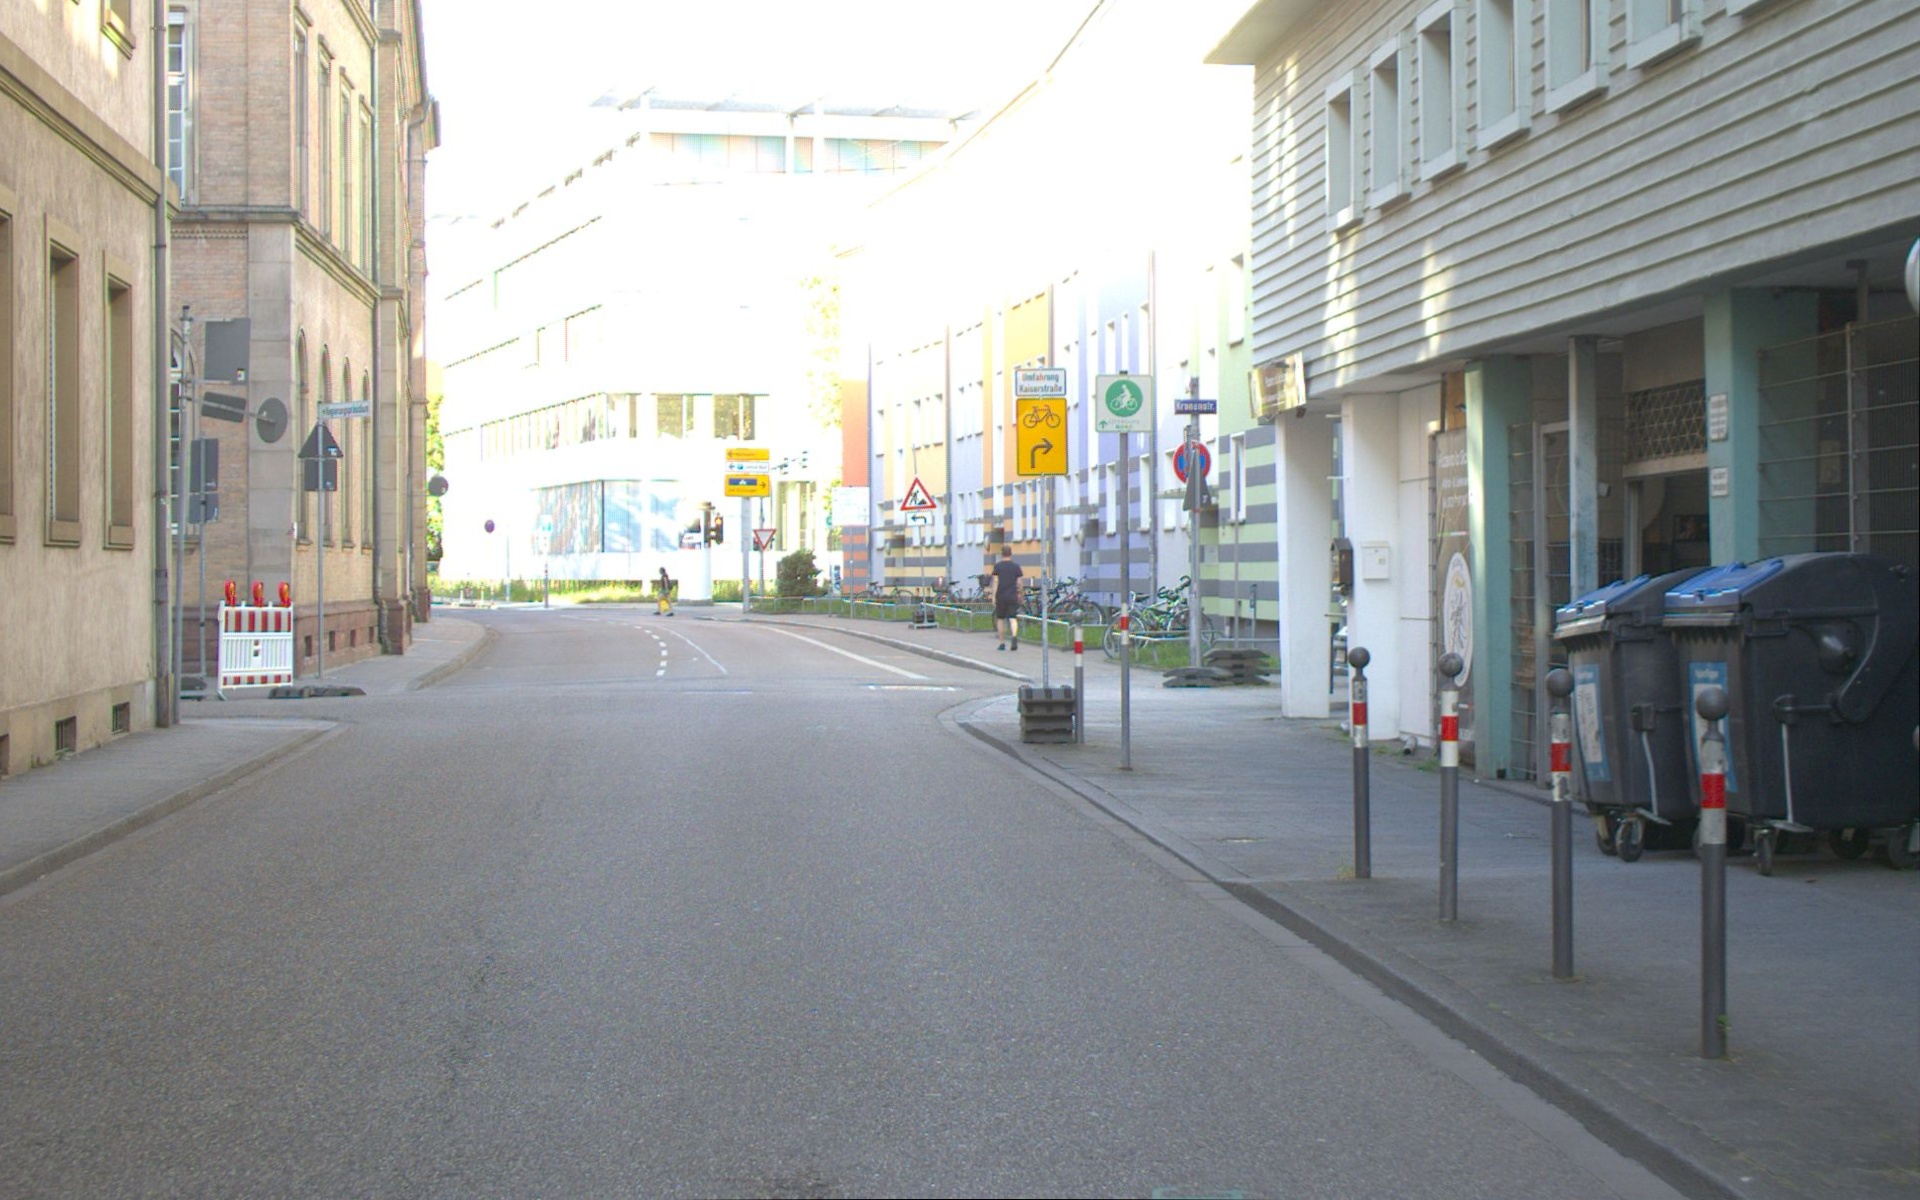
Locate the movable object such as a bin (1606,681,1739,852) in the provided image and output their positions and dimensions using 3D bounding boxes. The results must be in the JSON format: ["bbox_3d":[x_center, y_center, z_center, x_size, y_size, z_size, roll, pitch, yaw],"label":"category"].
[{"bbox_3d":[3.855,0.896,18.626,0.556,0.896,0.523,-2,-2,-4],"label":"movable object such as a bin"}]

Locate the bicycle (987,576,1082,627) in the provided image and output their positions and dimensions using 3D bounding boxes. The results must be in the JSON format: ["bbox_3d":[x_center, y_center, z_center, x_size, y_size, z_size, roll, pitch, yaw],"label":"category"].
[{"bbox_3d":[1.438,0.021,66.522,1.748,0.943,0.552,-1,0,-6],"label":"bicycle"}]

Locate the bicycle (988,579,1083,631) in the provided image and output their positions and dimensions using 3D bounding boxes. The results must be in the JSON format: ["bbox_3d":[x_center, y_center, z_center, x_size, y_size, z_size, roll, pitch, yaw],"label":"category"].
[{"bbox_3d":[1.444,0.097,65.855,1.748,0.943,0.552,-1,0,-6],"label":"bicycle"}]

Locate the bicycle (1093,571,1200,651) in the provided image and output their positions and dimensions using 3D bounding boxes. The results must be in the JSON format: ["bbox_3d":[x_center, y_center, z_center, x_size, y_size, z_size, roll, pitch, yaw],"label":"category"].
[{"bbox_3d":[2.909,0.164,53.615,1.602,1.137,0.237,-4,1,-14],"label":"bicycle"}]

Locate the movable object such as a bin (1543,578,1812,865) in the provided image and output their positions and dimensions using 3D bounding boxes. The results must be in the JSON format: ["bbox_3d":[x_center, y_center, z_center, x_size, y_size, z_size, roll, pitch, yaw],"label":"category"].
[{"bbox_3d":[3.649,0.615,17.599,0.981,1.380,1.321,-2,-2,-4],"label":"movable object such as a bin"}]

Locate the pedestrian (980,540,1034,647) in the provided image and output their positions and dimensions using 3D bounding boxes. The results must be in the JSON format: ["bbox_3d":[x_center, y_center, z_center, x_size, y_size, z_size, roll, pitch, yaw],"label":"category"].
[{"bbox_3d":[0.785,-0.119,58.077,0.696,1.754,1.189,-3,1,-6],"label":"pedestrian"}]

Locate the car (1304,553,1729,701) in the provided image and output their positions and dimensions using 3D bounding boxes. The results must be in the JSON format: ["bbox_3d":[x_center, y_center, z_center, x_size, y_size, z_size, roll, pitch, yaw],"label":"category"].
[{"bbox_3d":[5.847,0.265,36.402,4.077,1.477,1.866,-1,0,-6],"label":"car"}]

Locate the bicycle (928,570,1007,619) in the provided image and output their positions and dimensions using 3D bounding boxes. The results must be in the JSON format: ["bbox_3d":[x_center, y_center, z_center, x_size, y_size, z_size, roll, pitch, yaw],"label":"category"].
[{"bbox_3d":[0.181,-0.139,82.431,1.810,1.133,0.552,-1,0,-7],"label":"bicycle"}]

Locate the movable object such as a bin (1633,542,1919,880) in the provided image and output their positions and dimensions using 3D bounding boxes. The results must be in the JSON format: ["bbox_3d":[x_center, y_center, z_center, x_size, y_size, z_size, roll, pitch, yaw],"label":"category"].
[{"bbox_3d":[3.859,0.513,16.084,0.981,1.475,1.551,-2,-2,-4],"label":"movable object such as a bin"}]

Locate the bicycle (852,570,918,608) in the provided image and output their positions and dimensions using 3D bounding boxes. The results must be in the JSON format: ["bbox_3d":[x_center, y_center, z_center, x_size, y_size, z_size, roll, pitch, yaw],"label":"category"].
[{"bbox_3d":[-2.098,-0.307,96.514,1.753,1.000,0.613,-2,0,-11],"label":"bicycle"}]

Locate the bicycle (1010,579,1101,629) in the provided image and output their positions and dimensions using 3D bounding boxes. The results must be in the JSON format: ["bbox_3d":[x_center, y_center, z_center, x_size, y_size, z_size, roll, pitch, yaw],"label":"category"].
[{"bbox_3d":[1.887,0.069,68.110,1.748,0.943,0.335,-1,0,-6],"label":"bicycle"}]

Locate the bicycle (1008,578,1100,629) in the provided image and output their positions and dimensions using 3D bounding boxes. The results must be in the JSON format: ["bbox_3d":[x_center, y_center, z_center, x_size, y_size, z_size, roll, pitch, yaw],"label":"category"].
[{"bbox_3d":[1.847,0.069,67.580,1.748,0.943,0.326,-1,0,-5],"label":"bicycle"}]

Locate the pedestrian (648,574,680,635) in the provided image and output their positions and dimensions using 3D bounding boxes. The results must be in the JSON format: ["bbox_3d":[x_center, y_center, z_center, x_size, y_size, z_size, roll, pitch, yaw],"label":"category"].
[{"bbox_3d":[-9.831,0.152,114.174,0.895,2.007,0.753,-1,0,-14],"label":"pedestrian"}]

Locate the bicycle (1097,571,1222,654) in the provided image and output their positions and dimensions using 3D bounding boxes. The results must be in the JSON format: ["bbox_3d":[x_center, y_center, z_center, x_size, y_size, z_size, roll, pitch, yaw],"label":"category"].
[{"bbox_3d":[3.012,0.186,51.951,1.748,1.137,0.552,-4,1,-6],"label":"bicycle"}]

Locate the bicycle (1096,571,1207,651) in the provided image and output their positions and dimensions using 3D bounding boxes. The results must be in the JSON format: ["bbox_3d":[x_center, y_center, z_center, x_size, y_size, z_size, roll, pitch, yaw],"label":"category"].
[{"bbox_3d":[2.976,0.164,53.347,1.640,1.137,0.283,-4,1,-14],"label":"bicycle"}]
